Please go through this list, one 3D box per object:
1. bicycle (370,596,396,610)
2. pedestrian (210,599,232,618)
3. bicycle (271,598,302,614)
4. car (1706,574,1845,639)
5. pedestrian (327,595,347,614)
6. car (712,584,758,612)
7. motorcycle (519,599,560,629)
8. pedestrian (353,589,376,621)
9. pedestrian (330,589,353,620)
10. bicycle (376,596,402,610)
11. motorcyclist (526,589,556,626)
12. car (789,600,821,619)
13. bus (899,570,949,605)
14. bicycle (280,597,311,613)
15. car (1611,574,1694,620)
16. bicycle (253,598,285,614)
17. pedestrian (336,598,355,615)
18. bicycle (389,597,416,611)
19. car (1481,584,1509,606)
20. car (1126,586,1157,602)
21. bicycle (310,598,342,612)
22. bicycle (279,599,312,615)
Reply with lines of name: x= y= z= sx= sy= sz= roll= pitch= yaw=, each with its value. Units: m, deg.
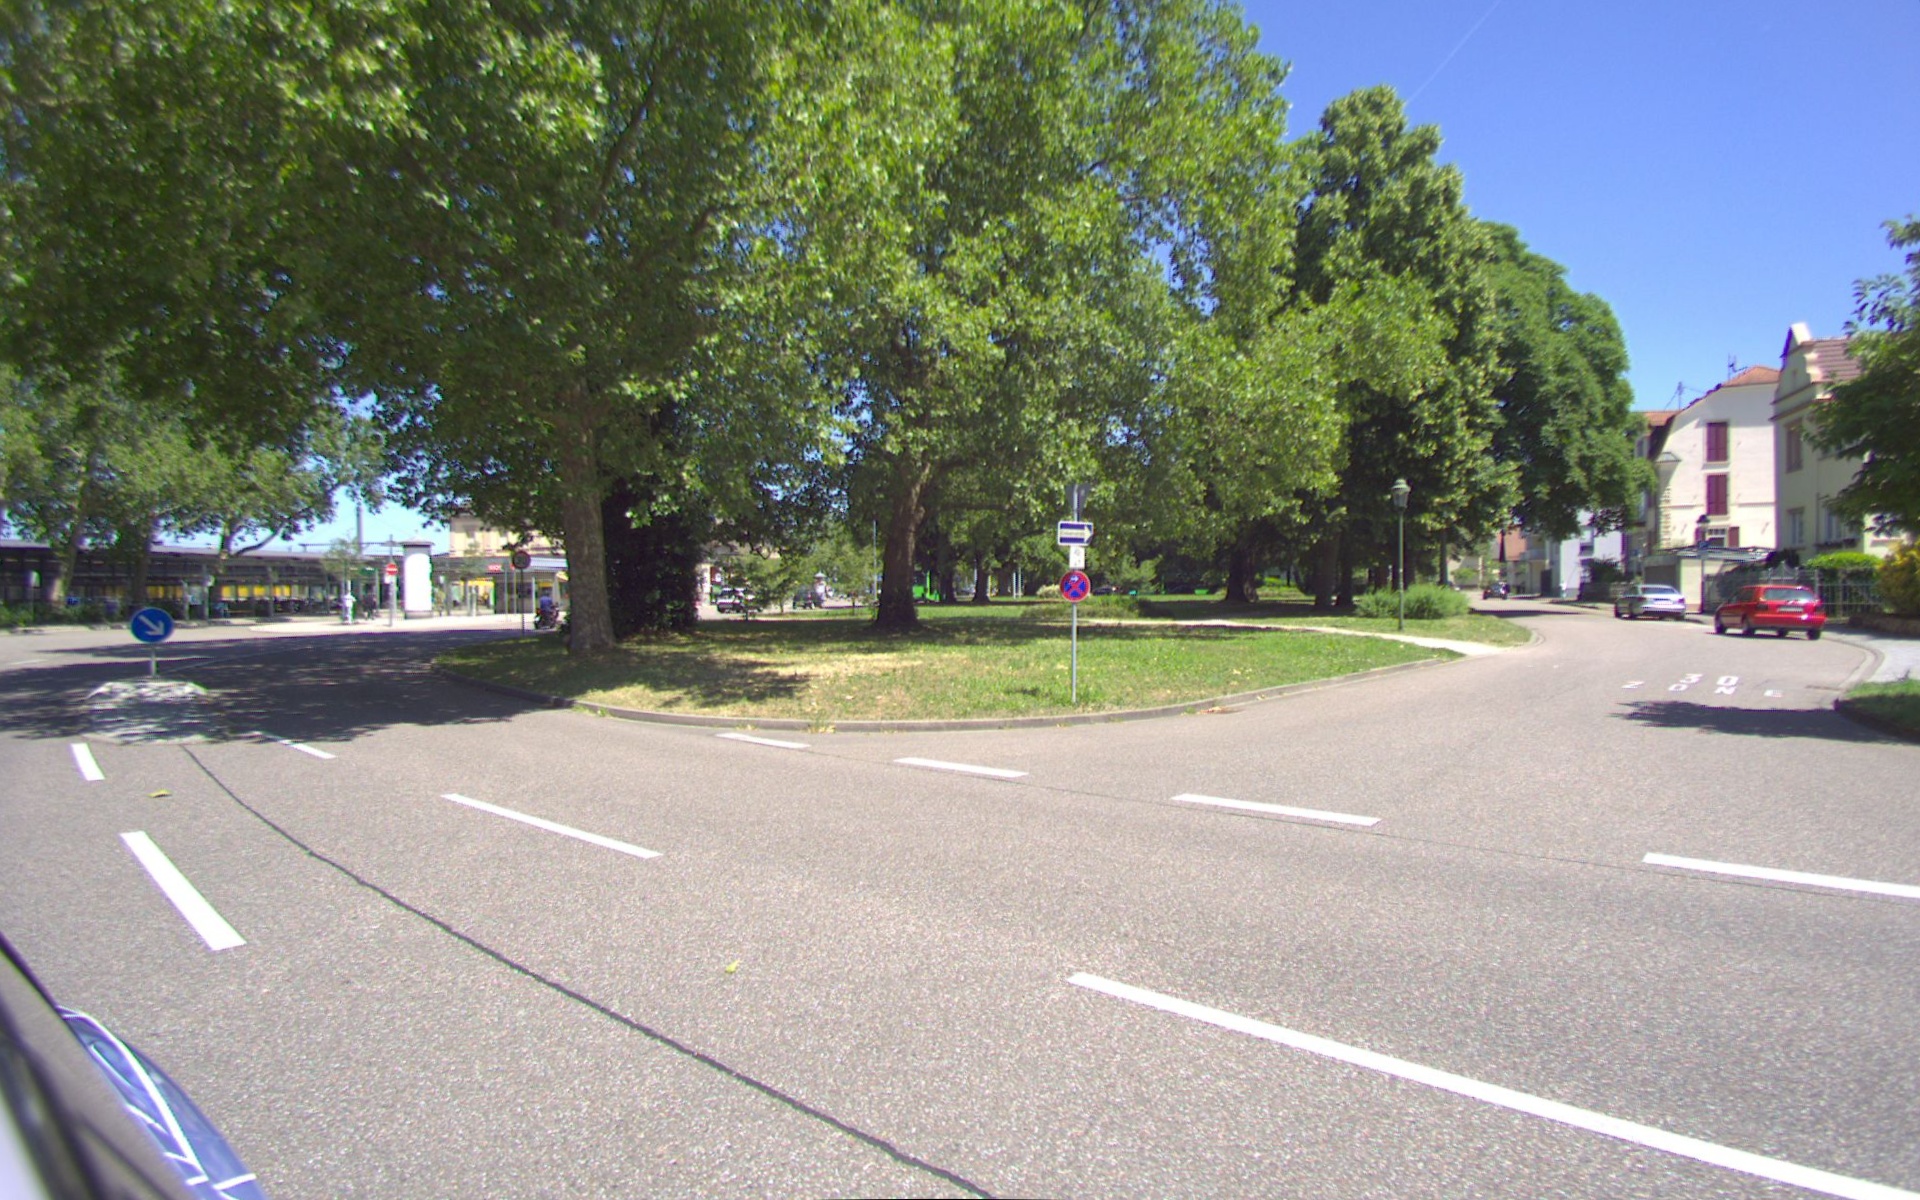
bicycle: x=-51.853 y=0.281 z=91.000 sx=0.664 sy=1.081 sz=2.160 roll=1 pitch=4 yaw=14
pedestrian: x=-49.579 y=0.574 z=67.914 sx=0.821 sy=1.284 sz=0.866 roll=-1 pitch=0 yaw=7
bicycle: x=-53.928 y=0.484 z=81.064 sx=0.664 sy=1.081 sz=2.160 roll=1 pitch=4 yaw=14
car: x=22.444 y=0.133 z=28.057 sx=1.989 sy=1.630 sz=4.467 roll=-1 pitch=1 yaw=26
pedestrian: x=-47.827 y=0.343 z=77.686 sx=0.953 sy=1.396 sz=0.828 roll=-1 pitch=0 yaw=12
car: x=-14.808 y=-0.107 z=66.814 sx=2.021 sy=1.760 sz=4.321 roll=1 pitch=0 yaw=2
motorcycle: x=-18.286 y=0.606 z=44.007 sx=0.799 sy=1.241 sz=2.048 roll=-1 pitch=1 yaw=4
pedestrian: x=-34.377 y=0.270 z=58.451 sx=0.692 sy=1.798 sz=0.906 roll=-1 pitch=0 yaw=29
pedestrian: x=-35.124 y=0.250 z=57.490 sx=0.673 sy=1.749 sz=0.905 roll=-1 pitch=0 yaw=31
bicycle: x=-51.186 y=0.249 z=90.741 sx=0.664 sy=1.081 sz=2.160 roll=1 pitch=4 yaw=14
motorcyclist: x=-18.274 y=0.321 z=44.156 sx=0.800 sy=1.567 sz=1.103 roll=-1 pitch=1 yaw=5
car: x=-12.210 y=0.722 z=79.837 sx=1.625 sy=1.428 sz=3.994 roll=1 pitch=0 yaw=5
bus: x=-3.594 y=-1.320 z=104.289 sx=2.785 sy=3.327 sz=11.821 roll=-1 pitch=1 yaw=10
bicycle: x=-53.022 y=0.415 z=80.802 sx=0.664 sy=1.081 sz=2.160 roll=1 pitch=4 yaw=14
car: x=28.546 y=-0.144 z=41.862 sx=1.988 sy=1.792 sz=4.471 roll=-1 pitch=1 yaw=23
bicycle: x=-55.568 y=0.482 z=81.406 sx=0.664 sy=1.081 sz=2.160 roll=1 pitch=4 yaw=14
pedestrian: x=-47.715 y=0.527 z=78.580 sx=0.953 sy=1.315 sz=0.828 roll=-1 pitch=0 yaw=12
bicycle: x=-48.755 y=0.343 z=88.532 sx=2.150 sy=1.081 sz=0.667 roll=1 pitch=4 yaw=15
car: x=46.724 y=-0.441 z=88.476 sx=1.989 sy=1.792 sz=4.467 roll=-1 pitch=1 yaw=26
car: x=23.527 y=-0.822 z=131.352 sx=3.957 sy=2.029 sz=1.993 roll=-1 pitch=0 yaw=11
bicycle: x=-53.352 y=0.413 z=85.190 sx=2.136 sy=1.081 sz=0.865 roll=0 pitch=4 yaw=-6
bicycle: x=-50.528 y=0.528 z=76.943 sx=2.145 sy=1.081 sz=0.669 roll=1 pitch=4 yaw=9
